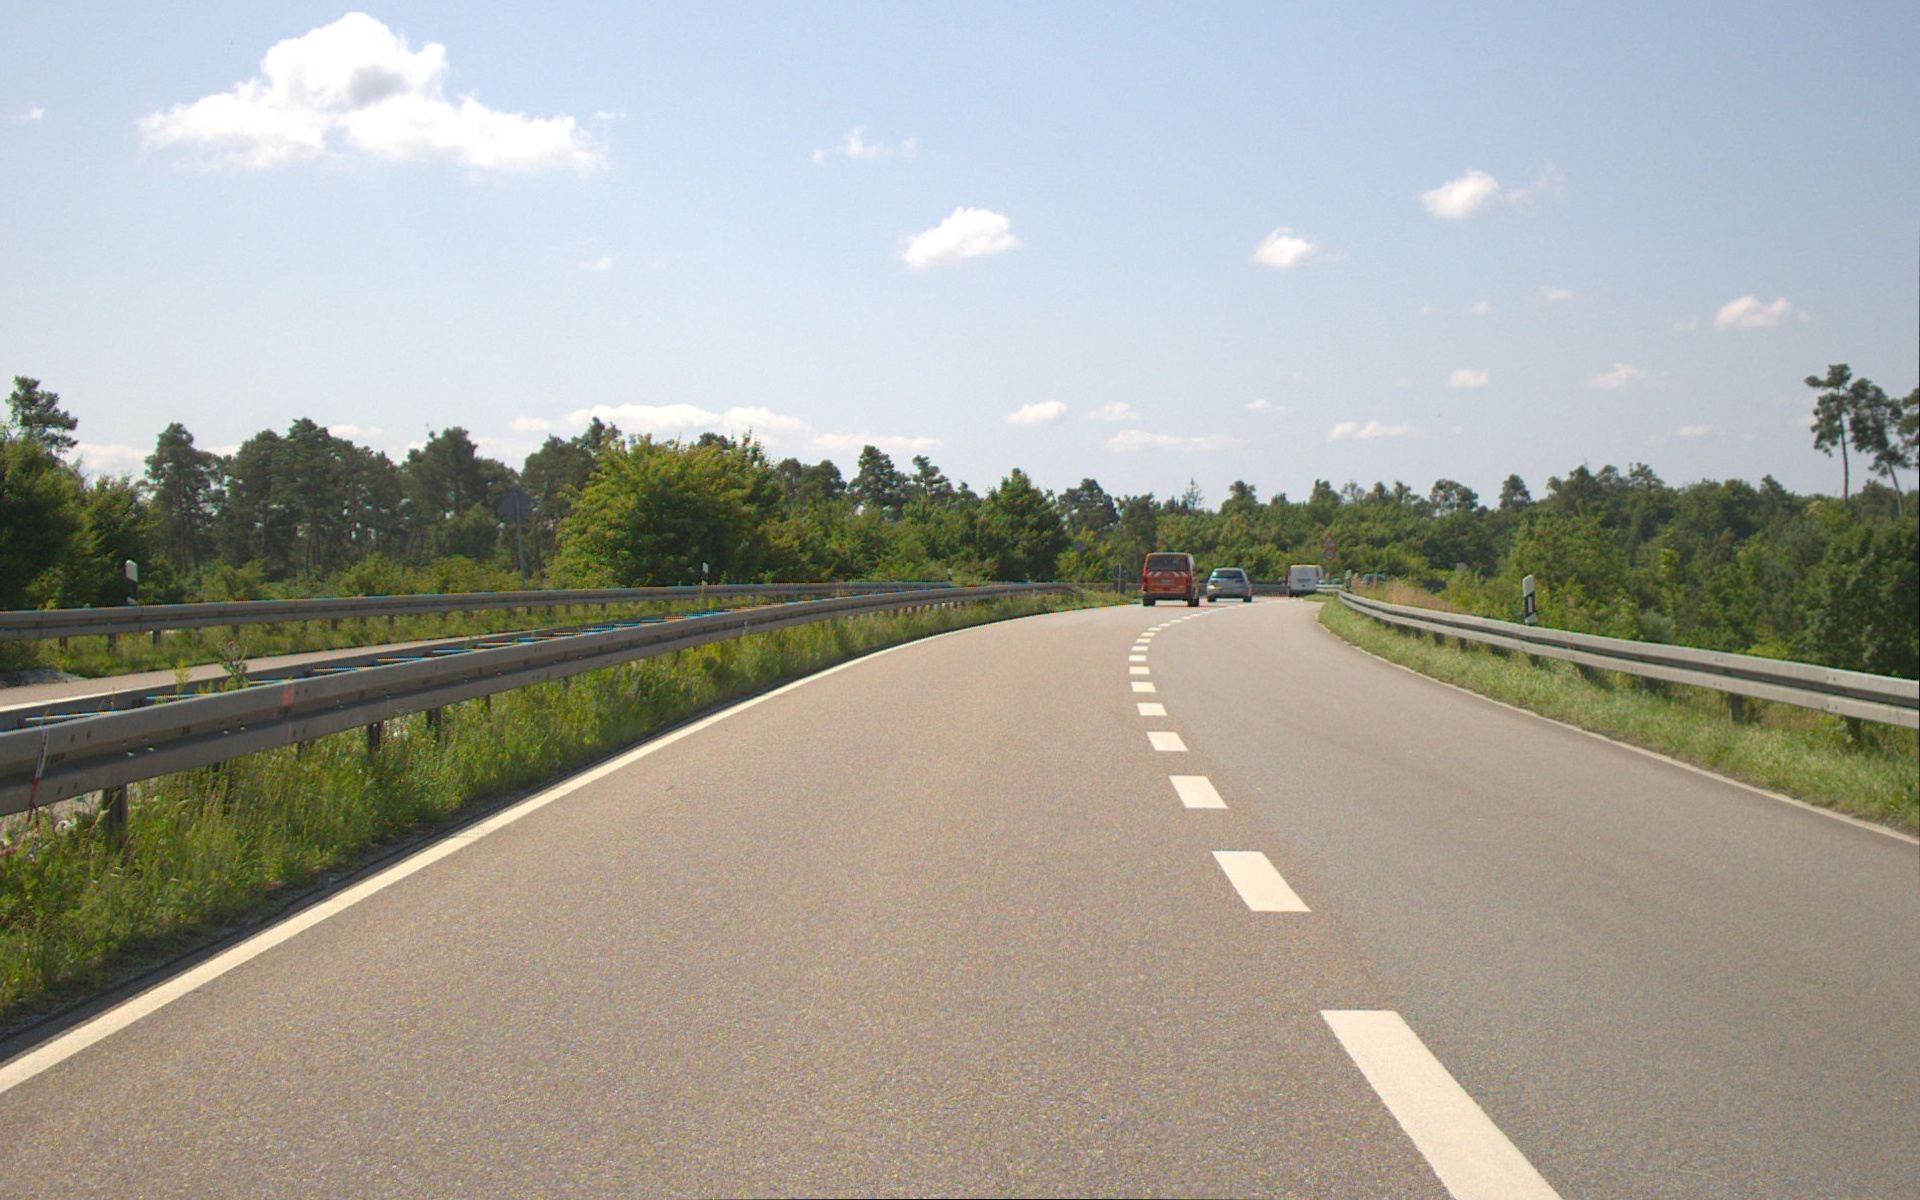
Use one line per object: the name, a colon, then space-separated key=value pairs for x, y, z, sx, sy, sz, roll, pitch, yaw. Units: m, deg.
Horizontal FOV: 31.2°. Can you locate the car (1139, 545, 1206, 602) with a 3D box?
car: x=7.800 y=-0.961 z=125.822 sx=2.078 sy=1.986 sz=5.110 roll=1 pitch=0 yaw=8

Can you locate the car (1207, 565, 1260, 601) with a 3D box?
car: x=11.722 y=-0.716 z=147.263 sx=2.008 sy=1.489 sz=4.237 roll=1 pitch=0 yaw=8

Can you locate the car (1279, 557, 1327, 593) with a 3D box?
car: x=19.932 y=-1.429 z=199.463 sx=2.186 sy=1.948 sz=5.801 roll=1 pitch=0 yaw=11
